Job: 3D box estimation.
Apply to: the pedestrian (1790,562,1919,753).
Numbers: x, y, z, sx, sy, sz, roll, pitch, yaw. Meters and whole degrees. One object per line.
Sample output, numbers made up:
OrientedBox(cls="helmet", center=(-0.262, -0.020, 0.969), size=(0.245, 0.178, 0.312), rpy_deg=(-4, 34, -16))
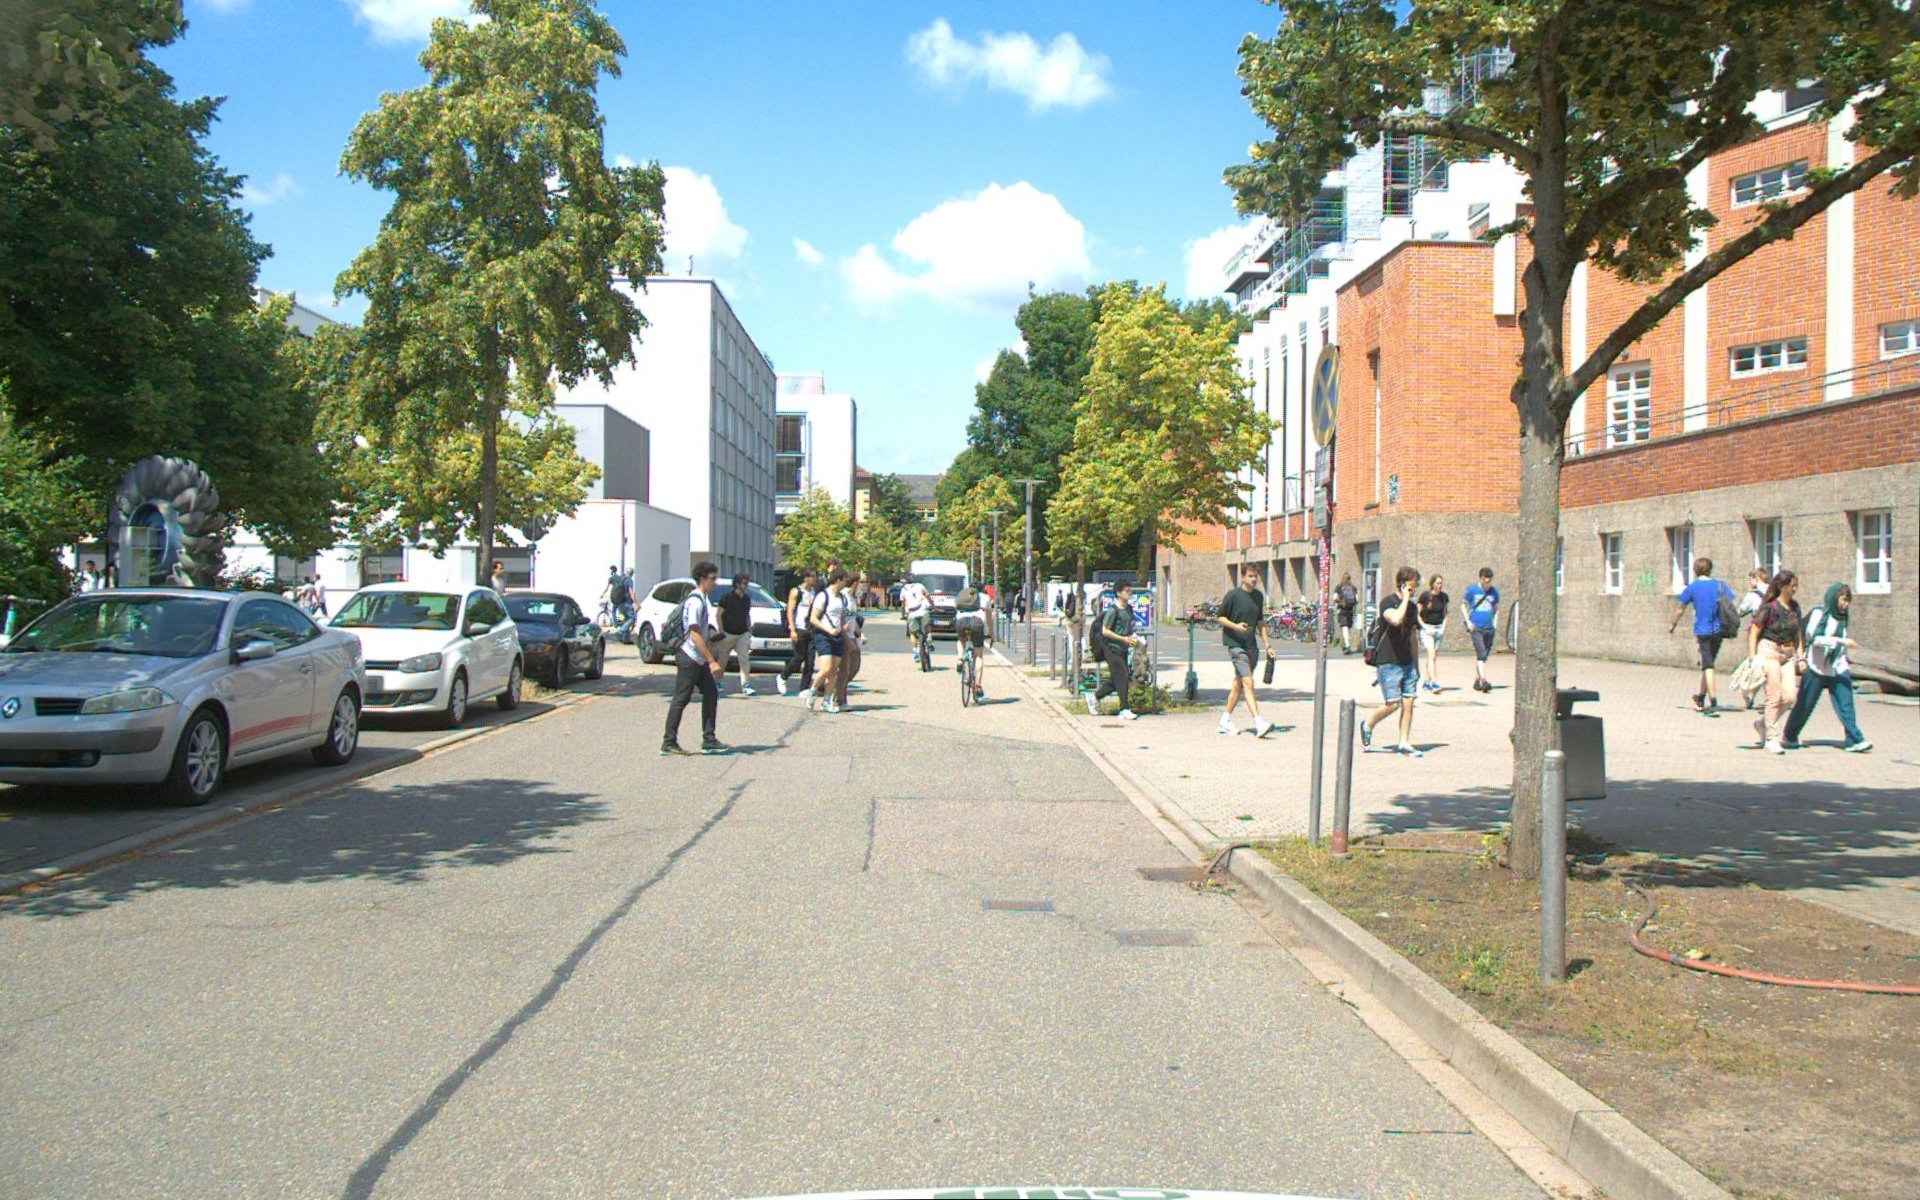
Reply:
OrientedBox(cls="pedestrian", center=(8.550, 0.518, 15.637), size=(0.858, 1.665, 0.948), rpy_deg=(-4, 3, -3))

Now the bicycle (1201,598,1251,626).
OrientedBox(cls="bicycle", center=(9.923, 0.449, 61.701), size=(1.773, 1.002, 0.560), rpy_deg=(-1, 0, -2))

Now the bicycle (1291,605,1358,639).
OrientedBox(cls="bicycle", center=(10.272, 0.622, 46.619), size=(1.773, 0.928, 0.560), rpy_deg=(-1, 0, -2))

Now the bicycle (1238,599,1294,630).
OrientedBox(cls="bicycle", center=(10.365, 0.494, 55.988), size=(1.773, 1.002, 0.560), rpy_deg=(-1, 0, -2))

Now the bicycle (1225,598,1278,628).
OrientedBox(cls="bicycle", center=(10.410, 0.458, 59.178), size=(1.773, 1.002, 0.560), rpy_deg=(-1, 0, -2))

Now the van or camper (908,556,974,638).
OrientedBox(cls="van or camper", center=(-0.572, -0.072, 53.004), size=(1.952, 2.488, 4.570), rpy_deg=(0, -1, 1))

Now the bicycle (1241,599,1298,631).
OrientedBox(cls="bicycle", center=(10.364, 0.503, 55.401), size=(1.773, 1.002, 0.560), rpy_deg=(-1, 0, -2))

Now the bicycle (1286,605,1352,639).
OrientedBox(cls="bicycle", center=(10.297, 0.635, 47.476), size=(1.773, 0.928, 0.560), rpy_deg=(-1, 0, -2))

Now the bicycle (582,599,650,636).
OrientedBox(cls="bicycle", center=(-9.933, 0.496, 47.672), size=(2.084, 1.020, 0.806), rpy_deg=(1, -1, 41))

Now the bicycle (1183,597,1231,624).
OrientedBox(cls="bicycle", center=(9.788, 0.414, 65.569), size=(1.773, 1.002, 0.560), rpy_deg=(-1, 0, -2))

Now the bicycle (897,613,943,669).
OrientedBox(cls="bicycle", center=(-0.788, 0.800, 32.064), size=(0.792, 1.020, 2.121), rpy_deg=(-1, -2, -4))

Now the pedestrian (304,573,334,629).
OrientedBox(cls="pedestrian", center=(-20.417, 0.039, 52.690), size=(0.679, 1.780, 0.636), rpy_deg=(1, 0, -1))

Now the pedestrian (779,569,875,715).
OrientedBox(cls="pedestrian", center=(-1.671, 0.508, 20.760), size=(0.964, 1.769, 0.698), rpy_deg=(1, 1, 35))

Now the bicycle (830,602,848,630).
OrientedBox(cls="bicycle", center=(-4.753, 0.644, 64.935), size=(0.663, 0.982, 2.001), rpy_deg=(2, -4, -4))

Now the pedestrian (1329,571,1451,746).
OrientedBox(cls="pedestrian", center=(4.137, 0.537, 15.919), size=(0.844, 1.623, 0.817), rpy_deg=(-1, 1, -45))

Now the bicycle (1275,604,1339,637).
OrientedBox(cls="bicycle", center=(10.254, 0.603, 48.879), size=(1.773, 0.928, 0.560), rpy_deg=(-1, 0, -2))

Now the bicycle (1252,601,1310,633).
OrientedBox(cls="bicycle", center=(10.457, 0.544, 53.896), size=(1.773, 1.002, 0.560), rpy_deg=(-1, 0, -2))

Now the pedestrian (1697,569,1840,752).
OrientedBox(cls="pedestrian", center=(7.654, 0.554, 15.693), size=(0.858, 1.666, 0.948), rpy_deg=(-1, 0, -2))

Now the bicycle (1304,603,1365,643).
OrientedBox(cls="bicycle", center=(10.115, 0.604, 44.681), size=(1.504, 1.051, 0.560), rpy_deg=(-1, 0, -2))

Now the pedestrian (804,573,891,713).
OrientedBox(cls="pedestrian", center=(-1.462, 0.545, 21.495), size=(0.891, 1.769, 0.675), rpy_deg=(1, 0, 37))

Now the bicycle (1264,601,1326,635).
OrientedBox(cls="bicycle", center=(10.261, 0.542, 50.643), size=(1.773, 1.002, 0.560), rpy_deg=(-1, 0, -2))

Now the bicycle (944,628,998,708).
OrientedBox(cls="bicycle", center=(0.170, 0.935, 23.328), size=(0.692, 1.010, 1.911), rpy_deg=(2, 0, 2))

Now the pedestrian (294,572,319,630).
OrientedBox(cls="pedestrian", center=(-20.486, 0.034, 51.874), size=(0.540, 1.795, 0.586), rpy_deg=(1, 0, -1))

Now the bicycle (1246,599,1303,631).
OrientedBox(cls="bicycle", center=(10.413, 0.506, 54.800), size=(1.773, 1.002, 0.560), rpy_deg=(-1, 0, -2))

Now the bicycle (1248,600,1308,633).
OrientedBox(cls="bicycle", center=(10.104, 0.515, 52.547), size=(1.773, 1.002, 0.560), rpy_deg=(-1, 0, -2))

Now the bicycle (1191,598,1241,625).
OrientedBox(cls="bicycle", center=(9.779, 0.436, 63.231), size=(1.773, 1.002, 0.560), rpy_deg=(-1, 0, -2))

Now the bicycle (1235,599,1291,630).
OrientedBox(cls="bicycle", center=(10.364, 0.490, 56.630), size=(1.773, 1.002, 0.560), rpy_deg=(-1, 0, -2))

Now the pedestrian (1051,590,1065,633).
OrientedBox(cls="pedestrian", center=(4.330, 0.497, 72.955), size=(0.564, 1.892, 0.569), rpy_deg=(0, 0, -4))

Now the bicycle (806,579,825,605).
OrientedBox(cls="bicycle", center=(-5.510, -0.302, 63.114), size=(0.663, 0.981, 2.002), rpy_deg=(1, 0, -3))

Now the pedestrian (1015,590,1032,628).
OrientedBox(cls="pedestrian", center=(3.192, 0.451, 83.119), size=(0.774, 1.892, 1.026), rpy_deg=(0, 0, 0))

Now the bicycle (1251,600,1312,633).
OrientedBox(cls="bicycle", center=(10.091, 0.516, 51.942), size=(1.773, 1.002, 0.560), rpy_deg=(-1, 0, -2))

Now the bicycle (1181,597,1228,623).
OrientedBox(cls="bicycle", center=(9.835, 0.405, 66.534), size=(1.773, 1.002, 0.560), rpy_deg=(-1, 0, -2))

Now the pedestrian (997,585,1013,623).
OrientedBox(cls="pedestrian", center=(2.286, 0.181, 83.584), size=(0.774, 1.892, 1.243), rpy_deg=(0, 0, 0))

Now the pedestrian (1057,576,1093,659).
OrientedBox(cls="pedestrian", center=(2.444, 0.358, 35.182), size=(0.688, 1.724, 0.962), rpy_deg=(-1, 2, -1))
